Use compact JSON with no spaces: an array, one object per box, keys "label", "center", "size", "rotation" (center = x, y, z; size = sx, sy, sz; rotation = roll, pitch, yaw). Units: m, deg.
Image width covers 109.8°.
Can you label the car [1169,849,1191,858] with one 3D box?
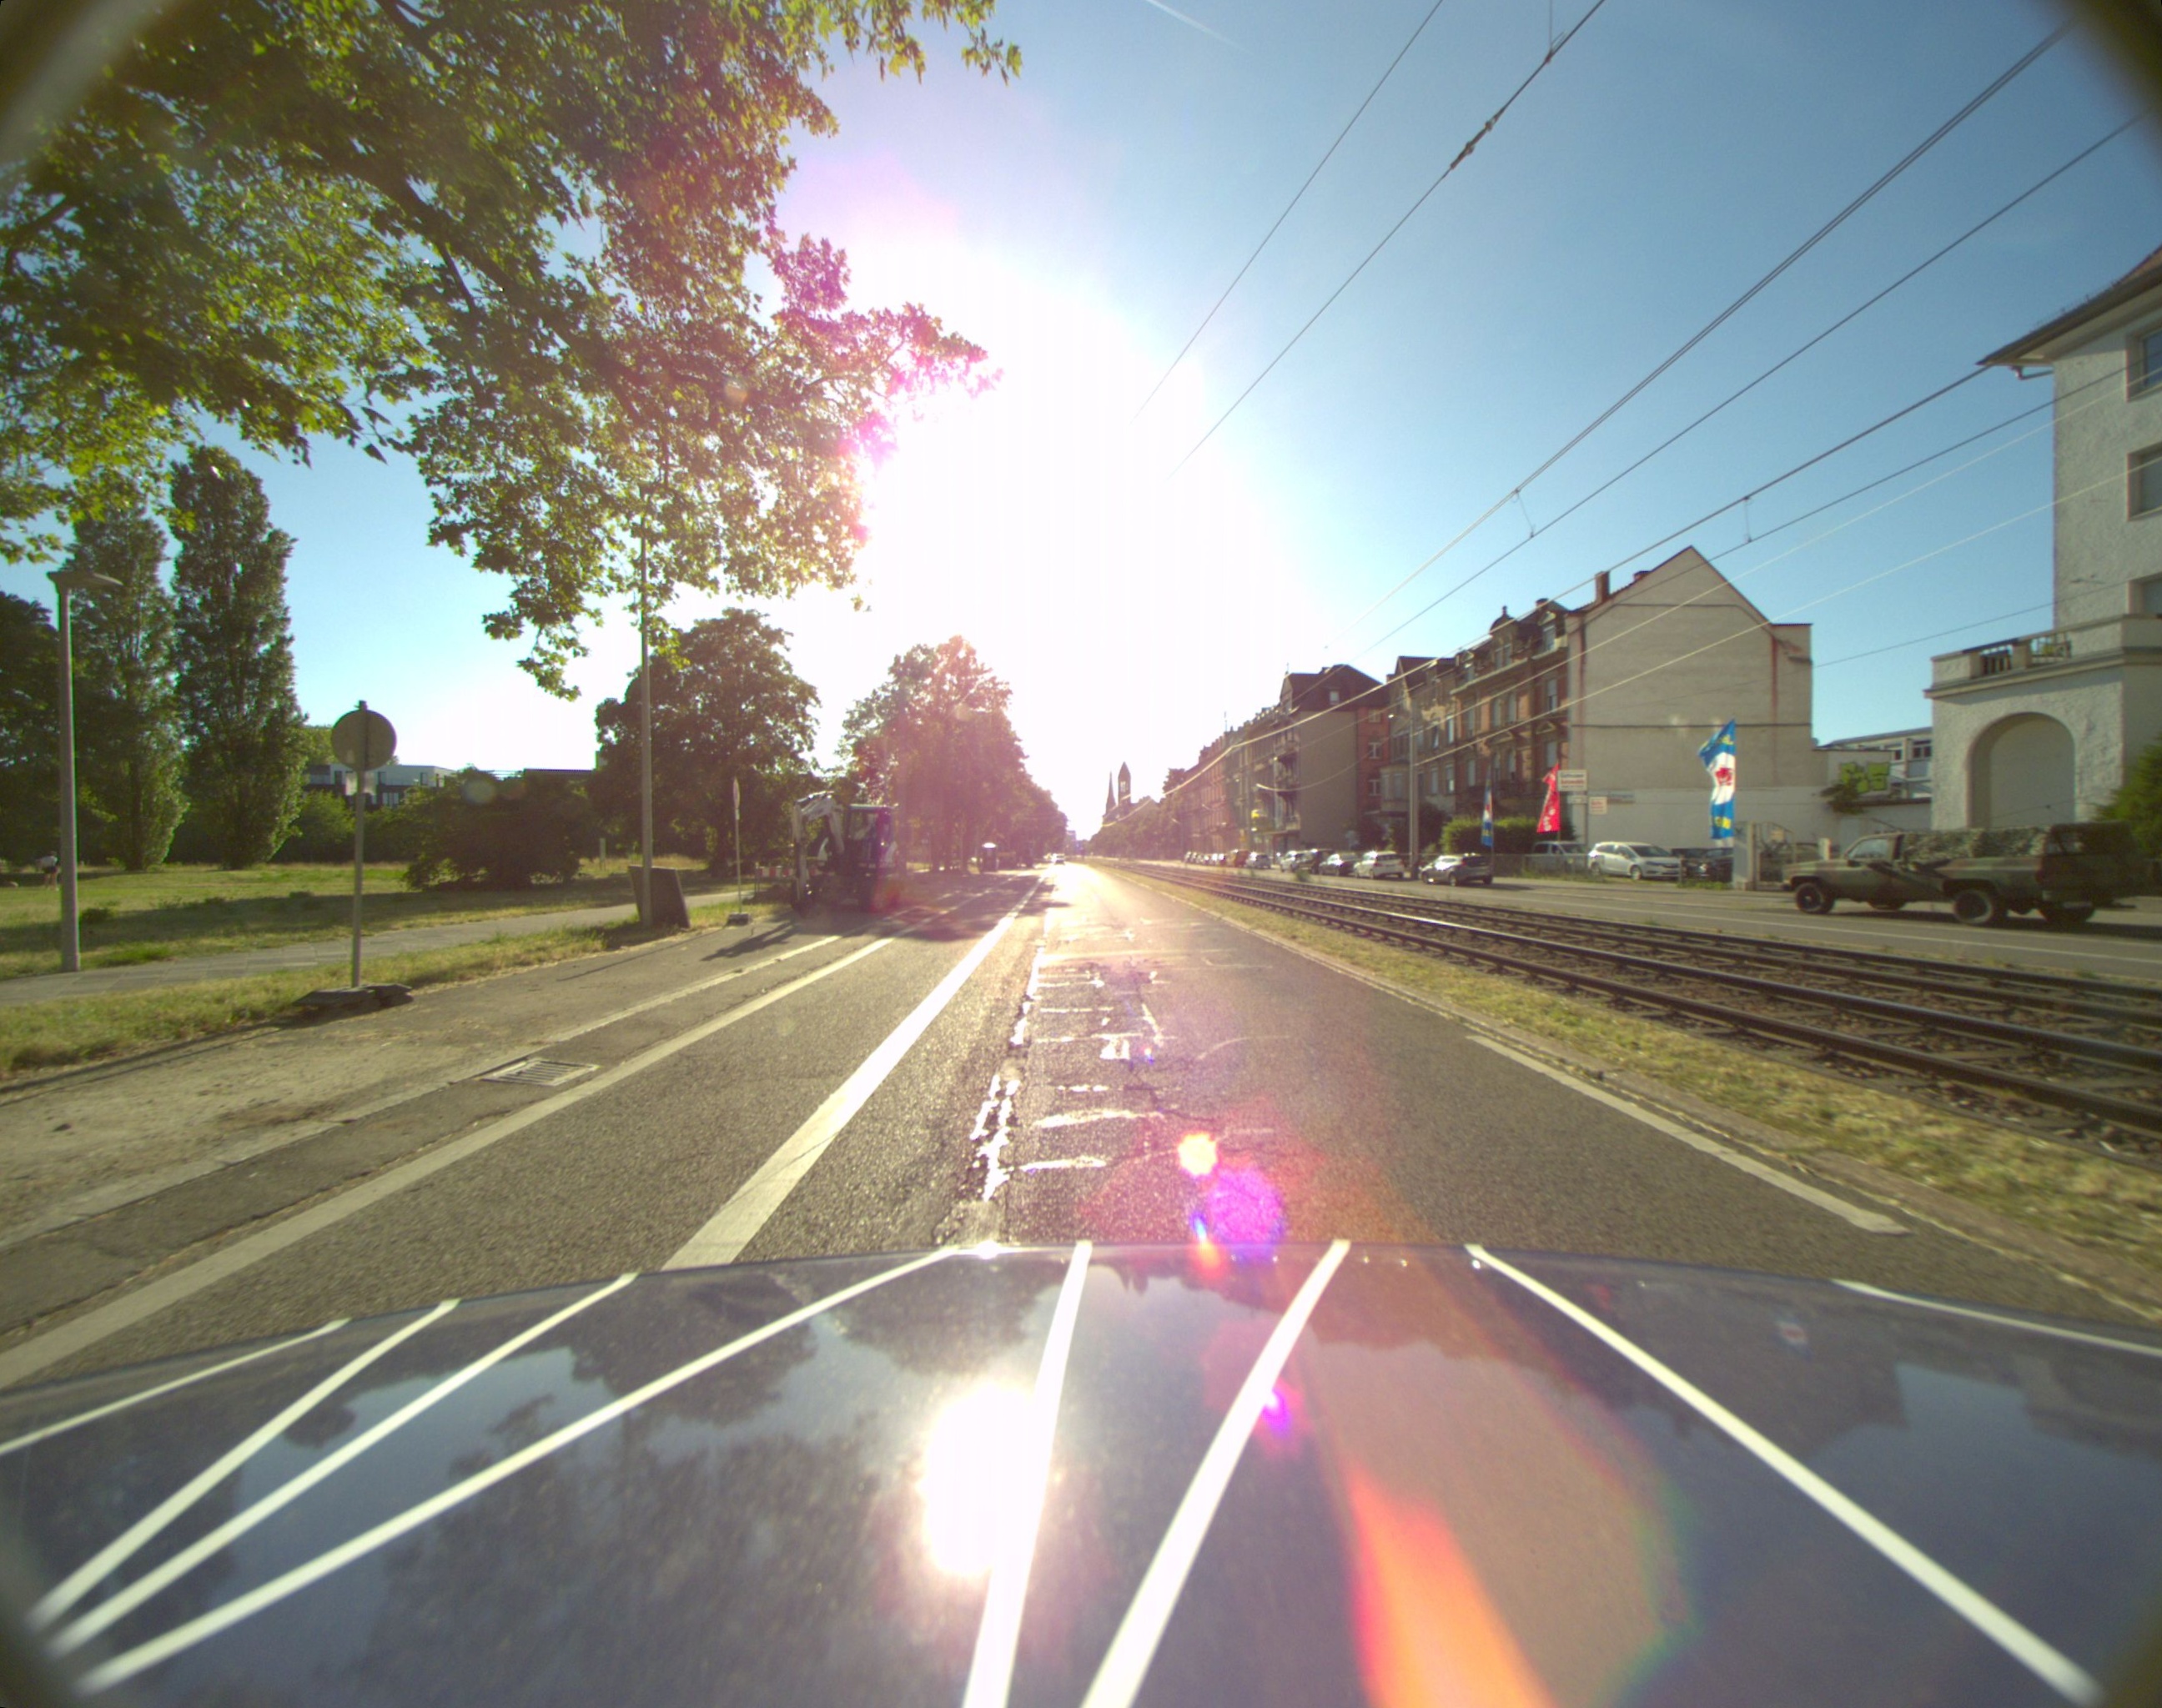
[{"label":"car","center":[20.168,-0.106,154.613],"size":[3.991,1.502,1.802],"rotation":[-2,1,20]}]

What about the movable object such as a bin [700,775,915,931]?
[{"label":"movable object such as a bin","center":[-6.464,-0.018,19.376],"size":[2.751,3.127,7.218],"rotation":[3,0,0]}]

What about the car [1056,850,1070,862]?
[{"label":"car","center":[-2.491,0.229,102.958],"size":[1.799,1.501,3.999],"rotation":[-2,0,-1]}]

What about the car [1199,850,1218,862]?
[{"label":"car","center":[16.440,0.275,97.844],"size":[1.664,1.437,3.980],"rotation":[-2,0,-1]}]

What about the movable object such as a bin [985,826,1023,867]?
[{"label":"movable object such as a bin","center":[-7.903,-0.749,78.821],"size":[3.348,3.953,7.595],"rotation":[2,0,-3]}]

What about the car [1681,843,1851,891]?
[{"label":"car","center":[24.358,0.471,27.170],"size":[4.136,1.623,1.953],"rotation":[0,-1,8]}]

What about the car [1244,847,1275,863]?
[{"label":"car","center":[17.599,0.091,75.155],"size":[1.925,1.529,4.626],"rotation":[-1,0,-1]}]

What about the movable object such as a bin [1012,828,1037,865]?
[{"label":"movable object such as a bin","center":[-7.314,-0.976,98.755],"size":[2.922,4.584,7.595],"rotation":[2,0,-3]}]

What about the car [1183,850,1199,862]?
[{"label":"car","center":[16.242,0.290,112.437],"size":[1.798,1.633,4.630],"rotation":[-2,0,1]}]

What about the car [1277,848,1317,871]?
[{"label":"car","center":[17.544,0.403,61.926],"size":[1.925,1.674,4.625],"rotation":[-1,1,-1]}]

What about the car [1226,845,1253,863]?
[{"label":"car","center":[16.908,0.005,81.467],"size":[1.664,1.797,4.727],"rotation":[-2,0,-3]}]

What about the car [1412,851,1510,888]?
[{"label":"car","center":[17.800,0.677,35.929],"size":[1.926,1.452,4.840],"rotation":[-6,0,-3]}]

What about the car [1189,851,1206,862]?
[{"label":"car","center":[16.465,0.375,107.629],"size":[1.664,1.437,3.764],"rotation":[-2,0,-1]}]

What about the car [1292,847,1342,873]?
[{"label":"car","center":[17.555,0.421,56.778],"size":[1.926,1.770,4.496],"rotation":[-2,0,-5]}]

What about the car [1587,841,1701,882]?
[{"label":"car","center":[25.352,0.282,34.444],"size":[1.908,1.646,4.561],"rotation":[0,2,2]}]

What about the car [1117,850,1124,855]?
[{"label":"car","center":[12.815,-0.409,244.597],"size":[1.799,1.501,3.998],"rotation":[0,0,-3]}]

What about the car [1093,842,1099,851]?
[{"label":"car","center":[4.768,-2.308,243.915],"size":[1.799,2.766,3.999],"rotation":[0,1,-2]}]

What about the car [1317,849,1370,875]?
[{"label":"car","center":[17.490,0.510,50.946],"size":[1.925,1.551,4.842],"rotation":[-2,0,1]}]

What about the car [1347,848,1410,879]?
[{"label":"car","center":[17.628,0.546,45.252],"size":[1.925,1.684,4.842],"rotation":[-2,0,1]}]

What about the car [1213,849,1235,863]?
[{"label":"car","center":[16.380,0.225,87.047],"size":[1.664,1.437,3.980],"rotation":[-2,0,-1]}]

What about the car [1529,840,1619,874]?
[{"label":"car","center":[25.914,0.100,40.169],"size":[1.908,1.646,4.561],"rotation":[0,2,2]}]

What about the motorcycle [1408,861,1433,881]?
[{"label":"motorcycle","center":[18.133,0.903,40.621],"size":[0.827,0.948,2.153],"rotation":[-2,1,13]}]

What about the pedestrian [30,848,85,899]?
[{"label":"pedestrian","center":[-42.131,0.793,31.295],"size":[0.868,2.002,1.266],"rotation":[-3,2,-32]}]

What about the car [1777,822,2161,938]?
[{"label":"car","center":[18.636,0.448,16.430],"size":[2.082,1.998,5.591],"rotation":[-2,0,1]}]
